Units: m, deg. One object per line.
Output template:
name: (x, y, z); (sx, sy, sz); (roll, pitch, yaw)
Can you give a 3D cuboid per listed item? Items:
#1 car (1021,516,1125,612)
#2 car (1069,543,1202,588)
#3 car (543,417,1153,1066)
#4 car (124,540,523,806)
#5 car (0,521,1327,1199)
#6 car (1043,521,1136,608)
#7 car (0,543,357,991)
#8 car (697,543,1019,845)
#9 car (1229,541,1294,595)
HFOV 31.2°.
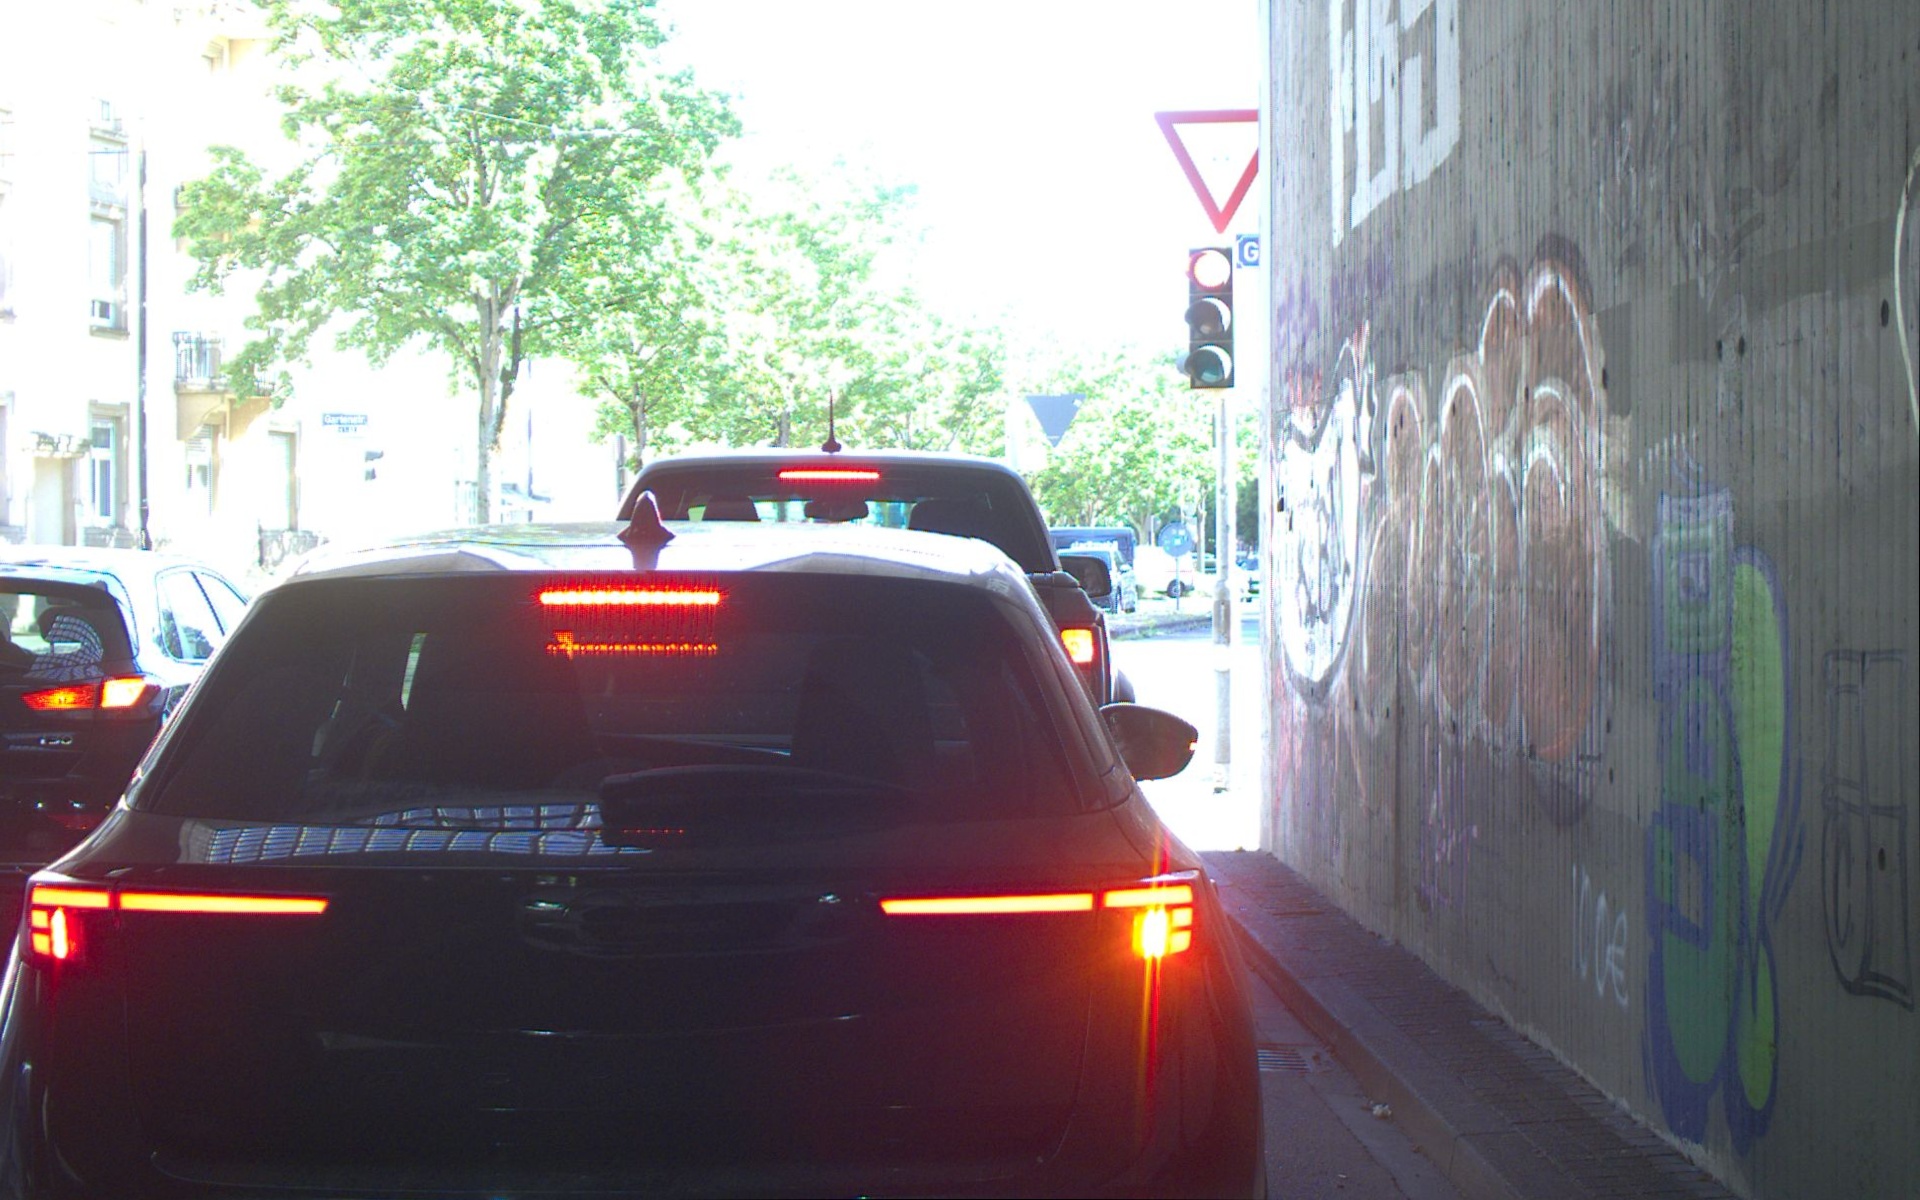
car: (2.079, -0.648, 62.174); (1.754, 1.661, 3.944); (1, 1, 3)
car: (6.826, -1.341, 133.753); (4.798, 1.661, 1.824); (1, 1, -21)
car: (-0.347, 0.377, 12.019); (1.762, 1.876, 4.146); (0, 1, -1)
car: (-3.775, 0.373, 20.990); (1.762, 1.475, 3.844); (0, 1, -1)
car: (-0.475, 0.639, 6.078); (1.762, 1.526, 4.089); (0, 1, -1)
car: (2.599, -0.702, 68.293); (1.754, 1.661, 3.944); (1, 1, 3)
car: (-3.525, 0.519, 13.266); (1.762, 1.475, 3.844); (0, 1, -1)
car: (-0.532, 0.439, 19.238); (1.609, 1.508, 4.054); (0, 1, -1)
car: (9.521, -1.004, 108.430); (1.754, 1.661, 3.943); (1, 1, 9)
